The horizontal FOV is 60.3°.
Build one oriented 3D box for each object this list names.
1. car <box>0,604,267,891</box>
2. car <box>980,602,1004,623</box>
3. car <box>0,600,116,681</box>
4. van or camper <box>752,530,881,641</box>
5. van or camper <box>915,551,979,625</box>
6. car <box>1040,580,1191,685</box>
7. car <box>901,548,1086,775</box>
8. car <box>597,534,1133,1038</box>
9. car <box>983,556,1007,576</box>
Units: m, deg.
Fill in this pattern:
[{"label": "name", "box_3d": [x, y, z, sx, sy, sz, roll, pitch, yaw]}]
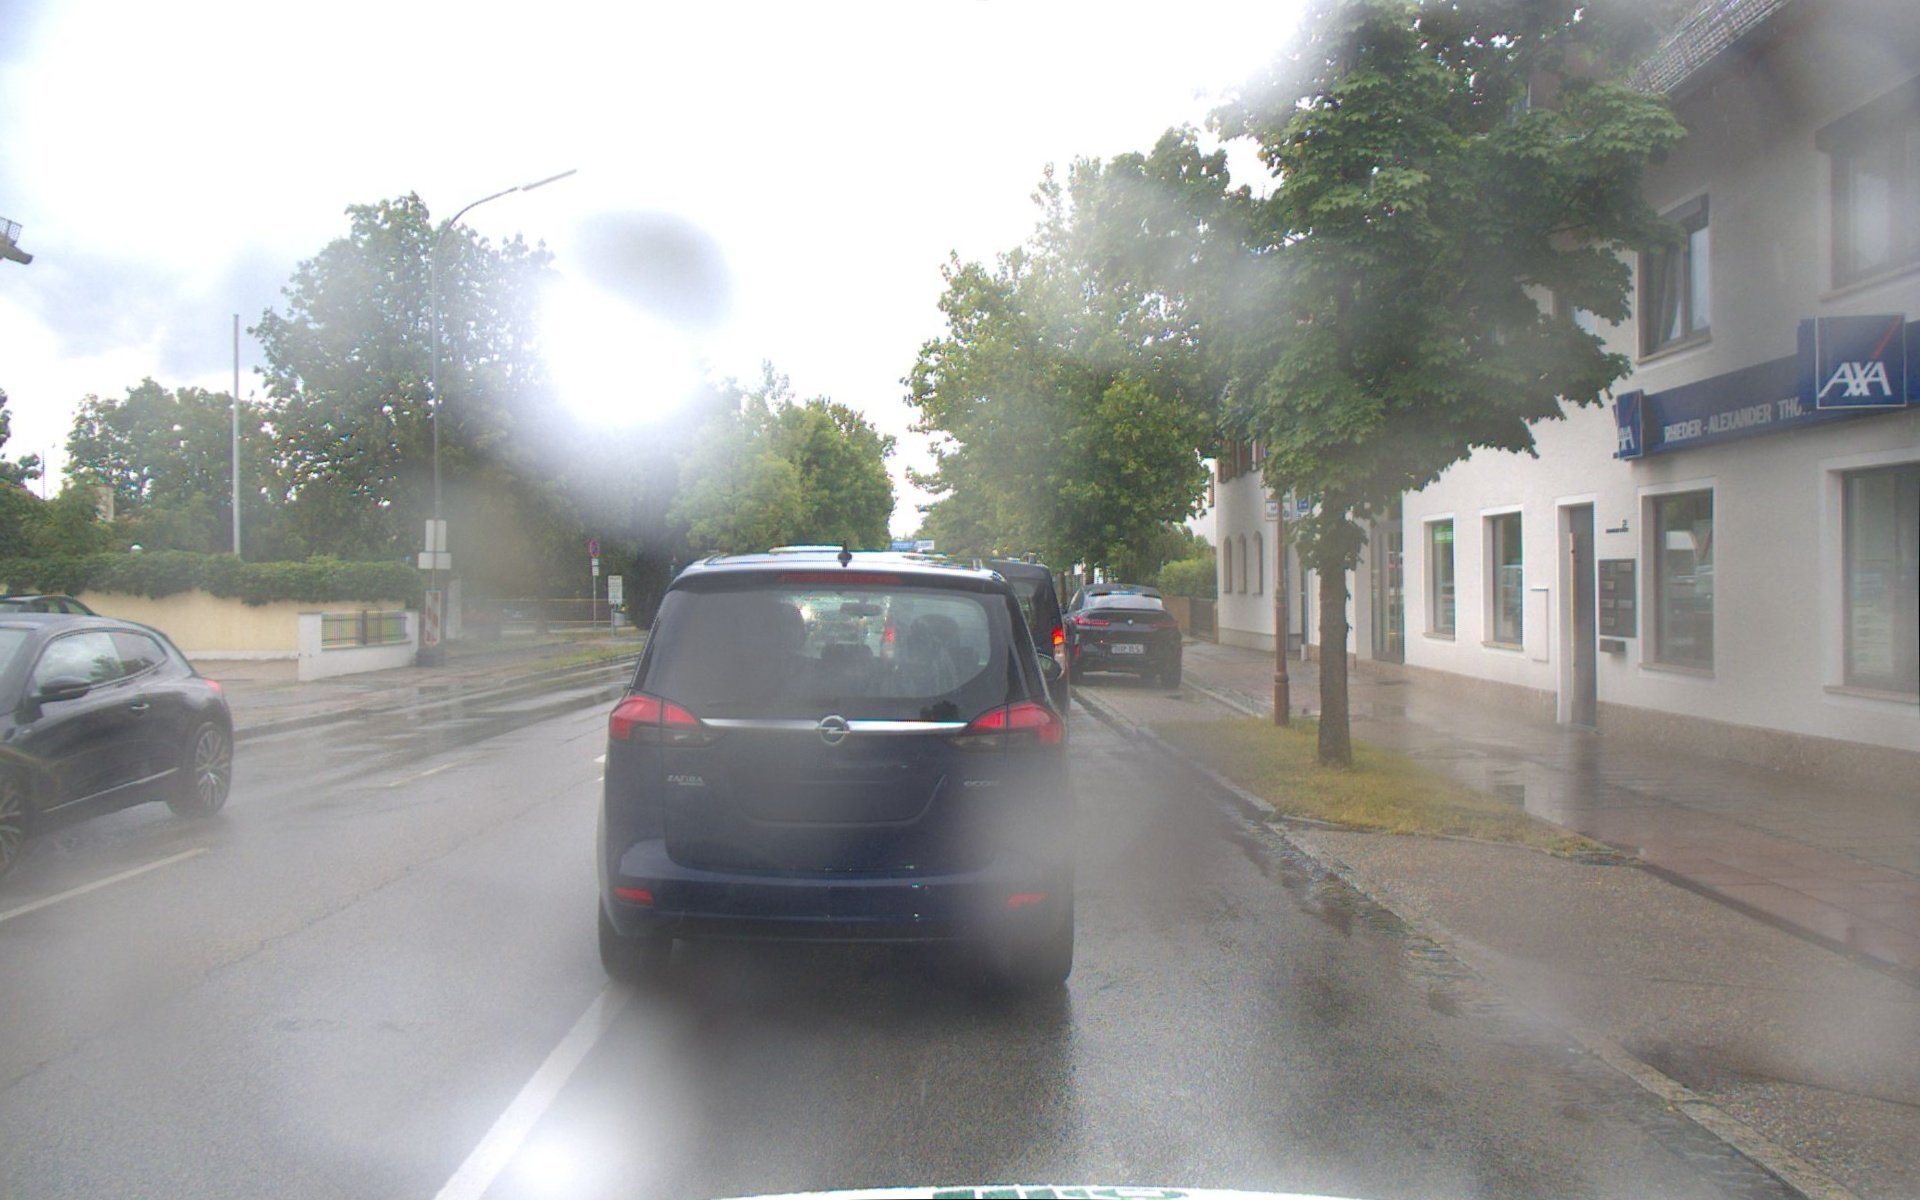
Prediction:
[{"label": "car", "box_3d": [-5.890, 0.786, 9.768, 1.956, 1.432, 3.883, -2, 0, -1]}, {"label": "car", "box_3d": [2.251, 0.873, 116.672, 1.597, 1.402, 3.622, 0, 0, -1]}, {"label": "car", "box_3d": [-17.420, 0.739, 30.818, 1.574, 1.404, 3.508, -2, 0, -1]}, {"label": "van or camper", "box_3d": [-3.955, -0.386, 44.315, 2.062, 2.754, 6.236, -1, 0, -18]}, {"label": "van or camper", "box_3d": [-0.514, -0.451, 63.850, 2.312, 2.712, 5.371, -1, 0, -1]}, {"label": "car", "box_3d": [2.535, 0.514, 27.852, 2.074, 1.609, 3.934, 1, 0, -1]}, {"label": "car", "box_3d": [0.252, 0.488, 14.859, 1.470, 1.807, 3.111, 1, 0, -1]}, {"label": "car", "box_3d": [-0.325, 0.601, 7.233, 1.733, 1.632, 3.663, 1, 0, -1]}, {"label": "car", "box_3d": [2.659, -2.558, 126.057, 1.597, 1.402, 3.622, -2, 0, -1]}]
